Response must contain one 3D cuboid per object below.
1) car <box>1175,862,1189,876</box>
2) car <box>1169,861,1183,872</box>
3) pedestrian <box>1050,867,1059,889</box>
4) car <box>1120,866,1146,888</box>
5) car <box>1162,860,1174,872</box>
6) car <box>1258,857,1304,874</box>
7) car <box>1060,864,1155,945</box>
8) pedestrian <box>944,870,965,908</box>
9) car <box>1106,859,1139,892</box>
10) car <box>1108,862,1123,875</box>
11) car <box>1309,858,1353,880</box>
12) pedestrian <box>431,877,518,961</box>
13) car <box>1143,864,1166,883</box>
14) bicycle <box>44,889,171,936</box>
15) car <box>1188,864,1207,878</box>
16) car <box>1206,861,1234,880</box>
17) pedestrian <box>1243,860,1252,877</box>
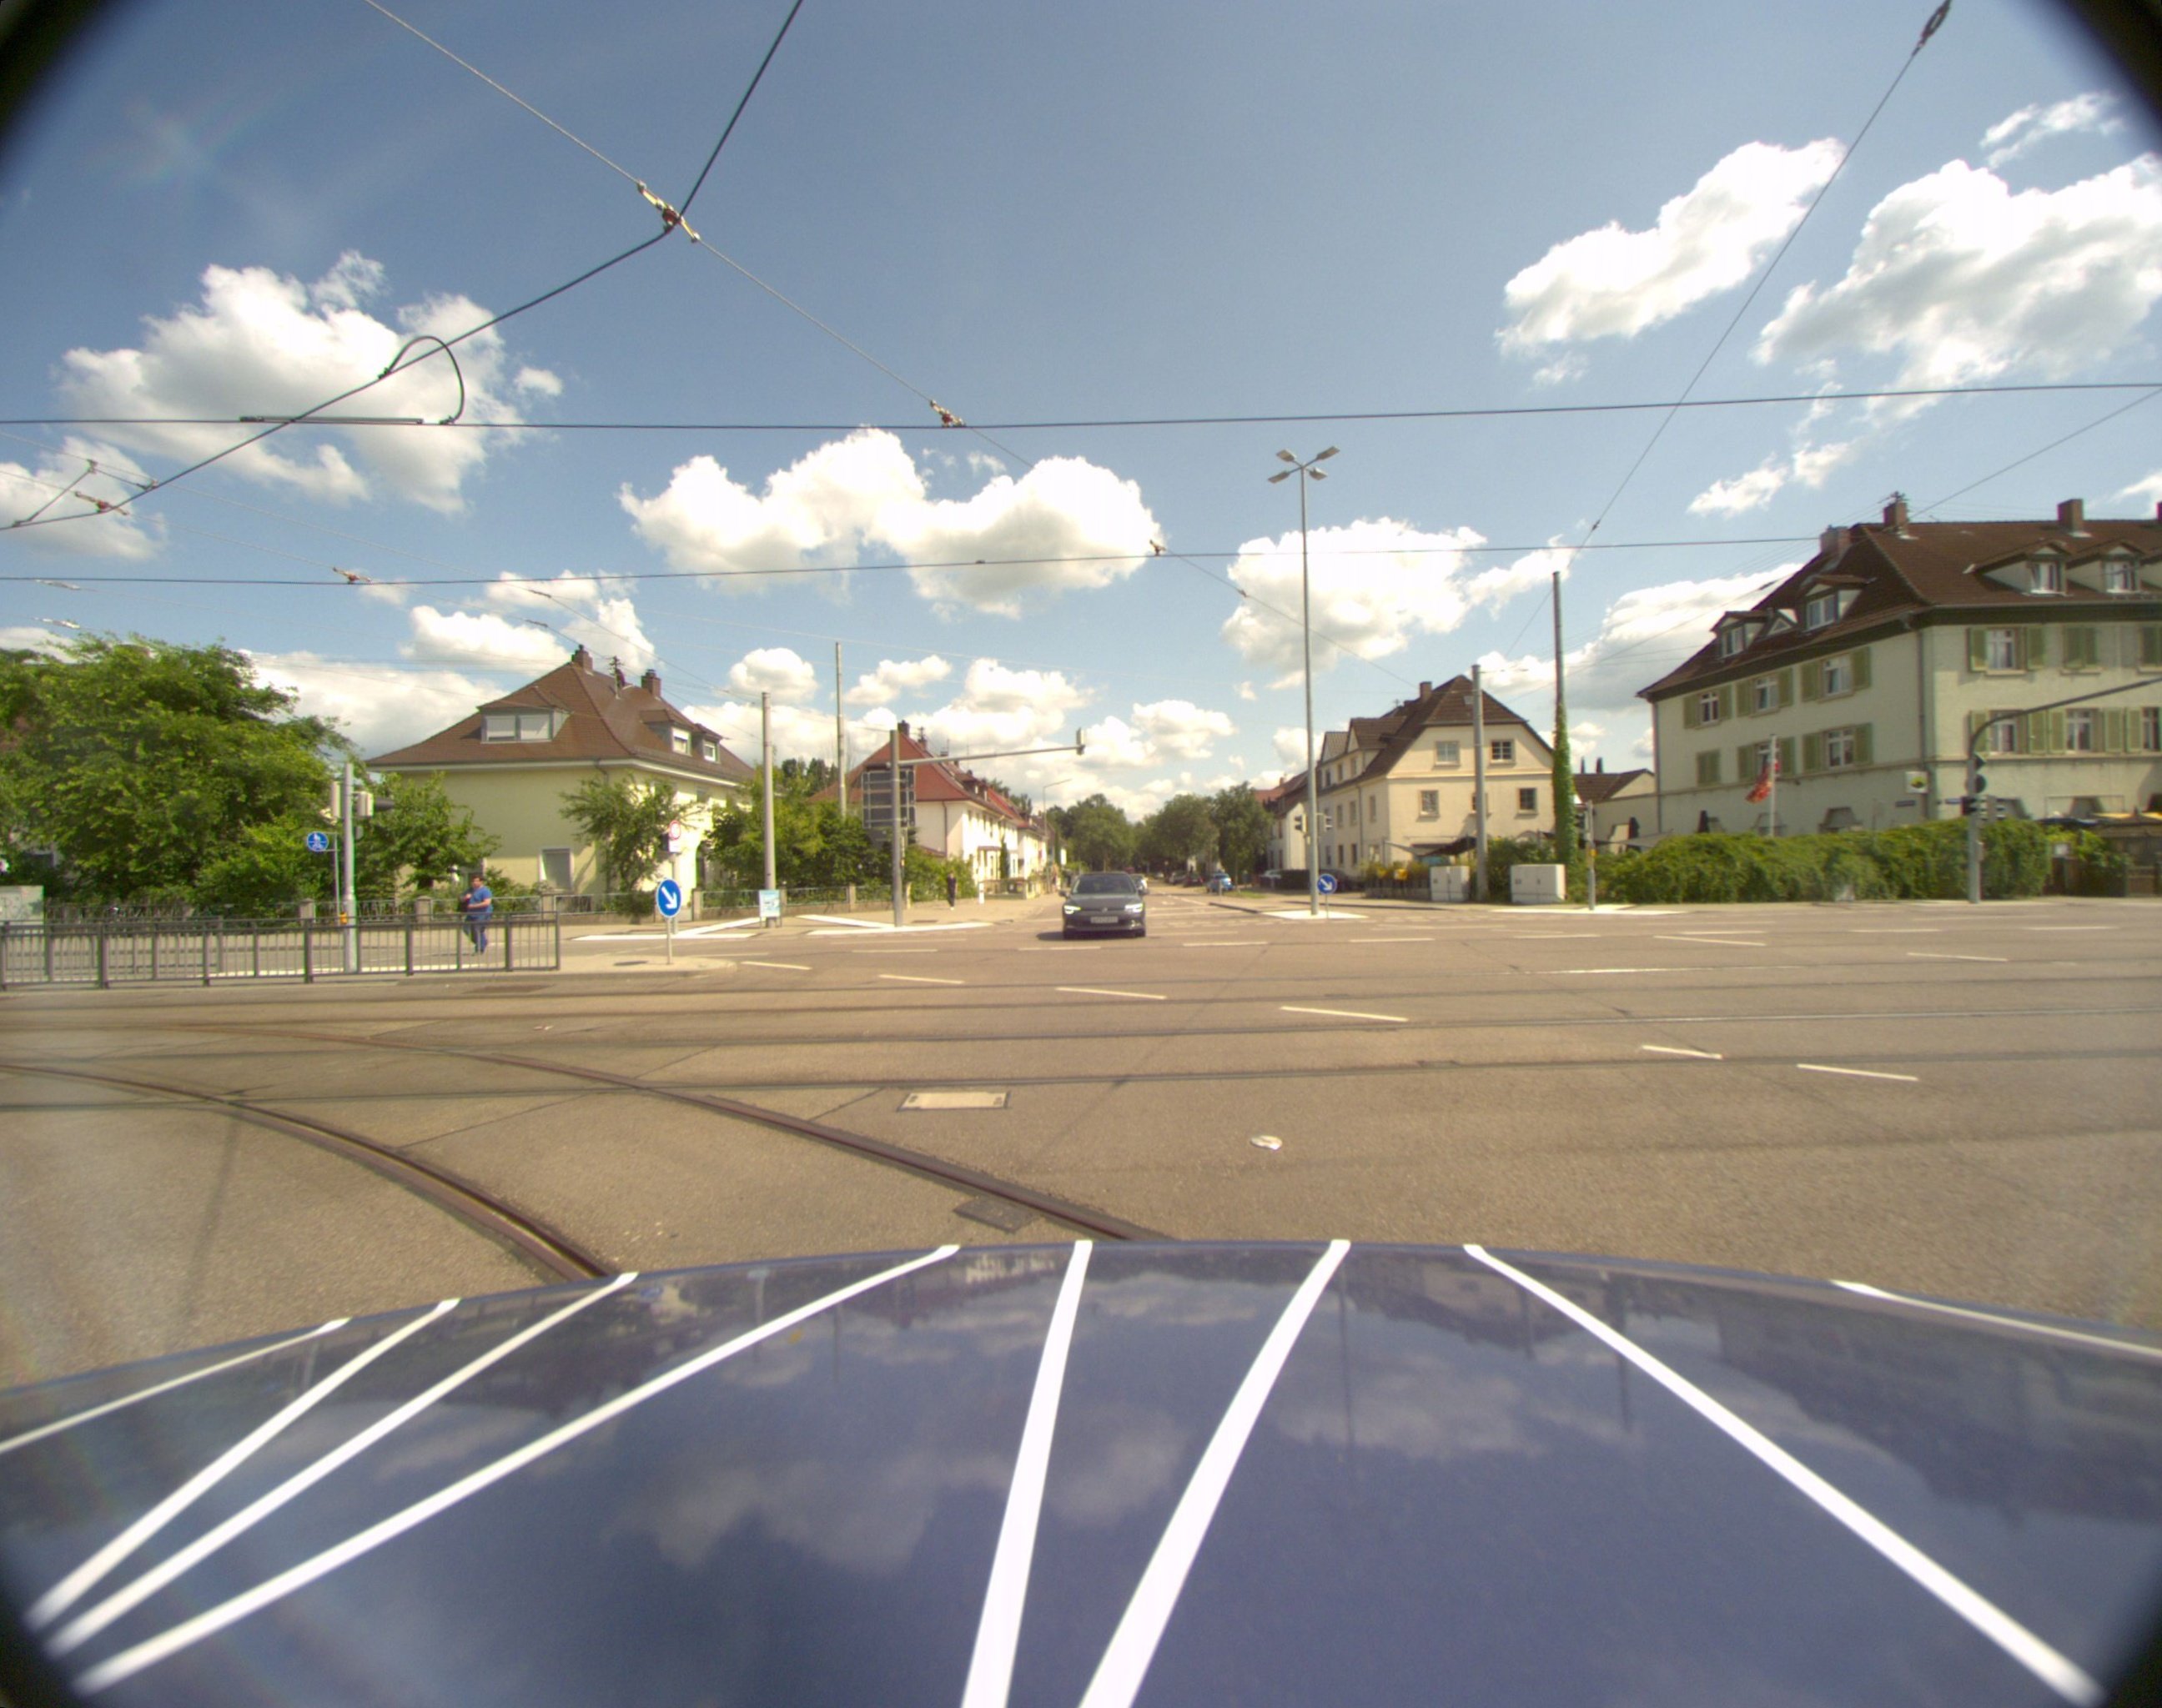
[{"bbox_3d":[12.240,1.773,92.449,1.561,1.645,3.575,-2,-1,5],"label":"car"},{"bbox_3d":[12.311,1.604,98.479,1.623,1.416,3.003,-2,-1,8],"label":"car"},{"bbox_3d":[-2.002,1.811,57.502,0.519,1.701,0.618,-1,0,4],"label":"pedestrian"},{"bbox_3d":[3.732,1.641,55.026,1.709,1.453,3.155,-1,-1,2],"label":"car"},{"bbox_3d":[12.305,1.707,107.525,1.562,1.645,3.252,-2,-1,5],"label":"car"},{"bbox_3d":[18.232,1.081,69.474,3.804,1.445,1.712,-2,0,5],"label":"car"},{"bbox_3d":[0.518,0.994,16.752,1.766,1.465,4.687,-1,-1,0],"label":"car"},{"bbox_3d":[-5.825,1.606,35.062,0.591,1.757,0.938,-1,0,15],"label":"pedestrian"},{"bbox_3d":[2.383,1.211,44.419,1.776,1.754,4.875,-2,0,2],"label":"car"},{"bbox_3d":[4.069,1.695,89.143,1.381,1.493,3.003,-2,-1,8],"label":"car"},{"bbox_3d":[16.446,0.966,49.911,1.757,1.378,4.110,-2,-1,32],"label":"car"},{"bbox_3d":[-13.138,1.381,16.494,1.032,1.724,1.041,-1,0,-2],"label":"pedestrian"},{"bbox_3d":[6.205,1.630,64.284,1.709,1.453,3.155,-1,-1,3],"label":"car"},{"bbox_3d":[-29.969,1.782,23.410,2.801,1.326,0.623,-1,0,-6],"label":"bicycle"},{"bbox_3d":[12.008,1.725,78.582,1.709,1.288,3.920,-2,-1,5],"label":"car"},{"bbox_3d":[11.046,1.308,60.682,1.709,1.453,3.155,-1,-1,2],"label":"car"},{"bbox_3d":[15.311,1.355,69.753,0.632,1.526,0.618,-1,0,-2],"label":"pedestrian"}]
